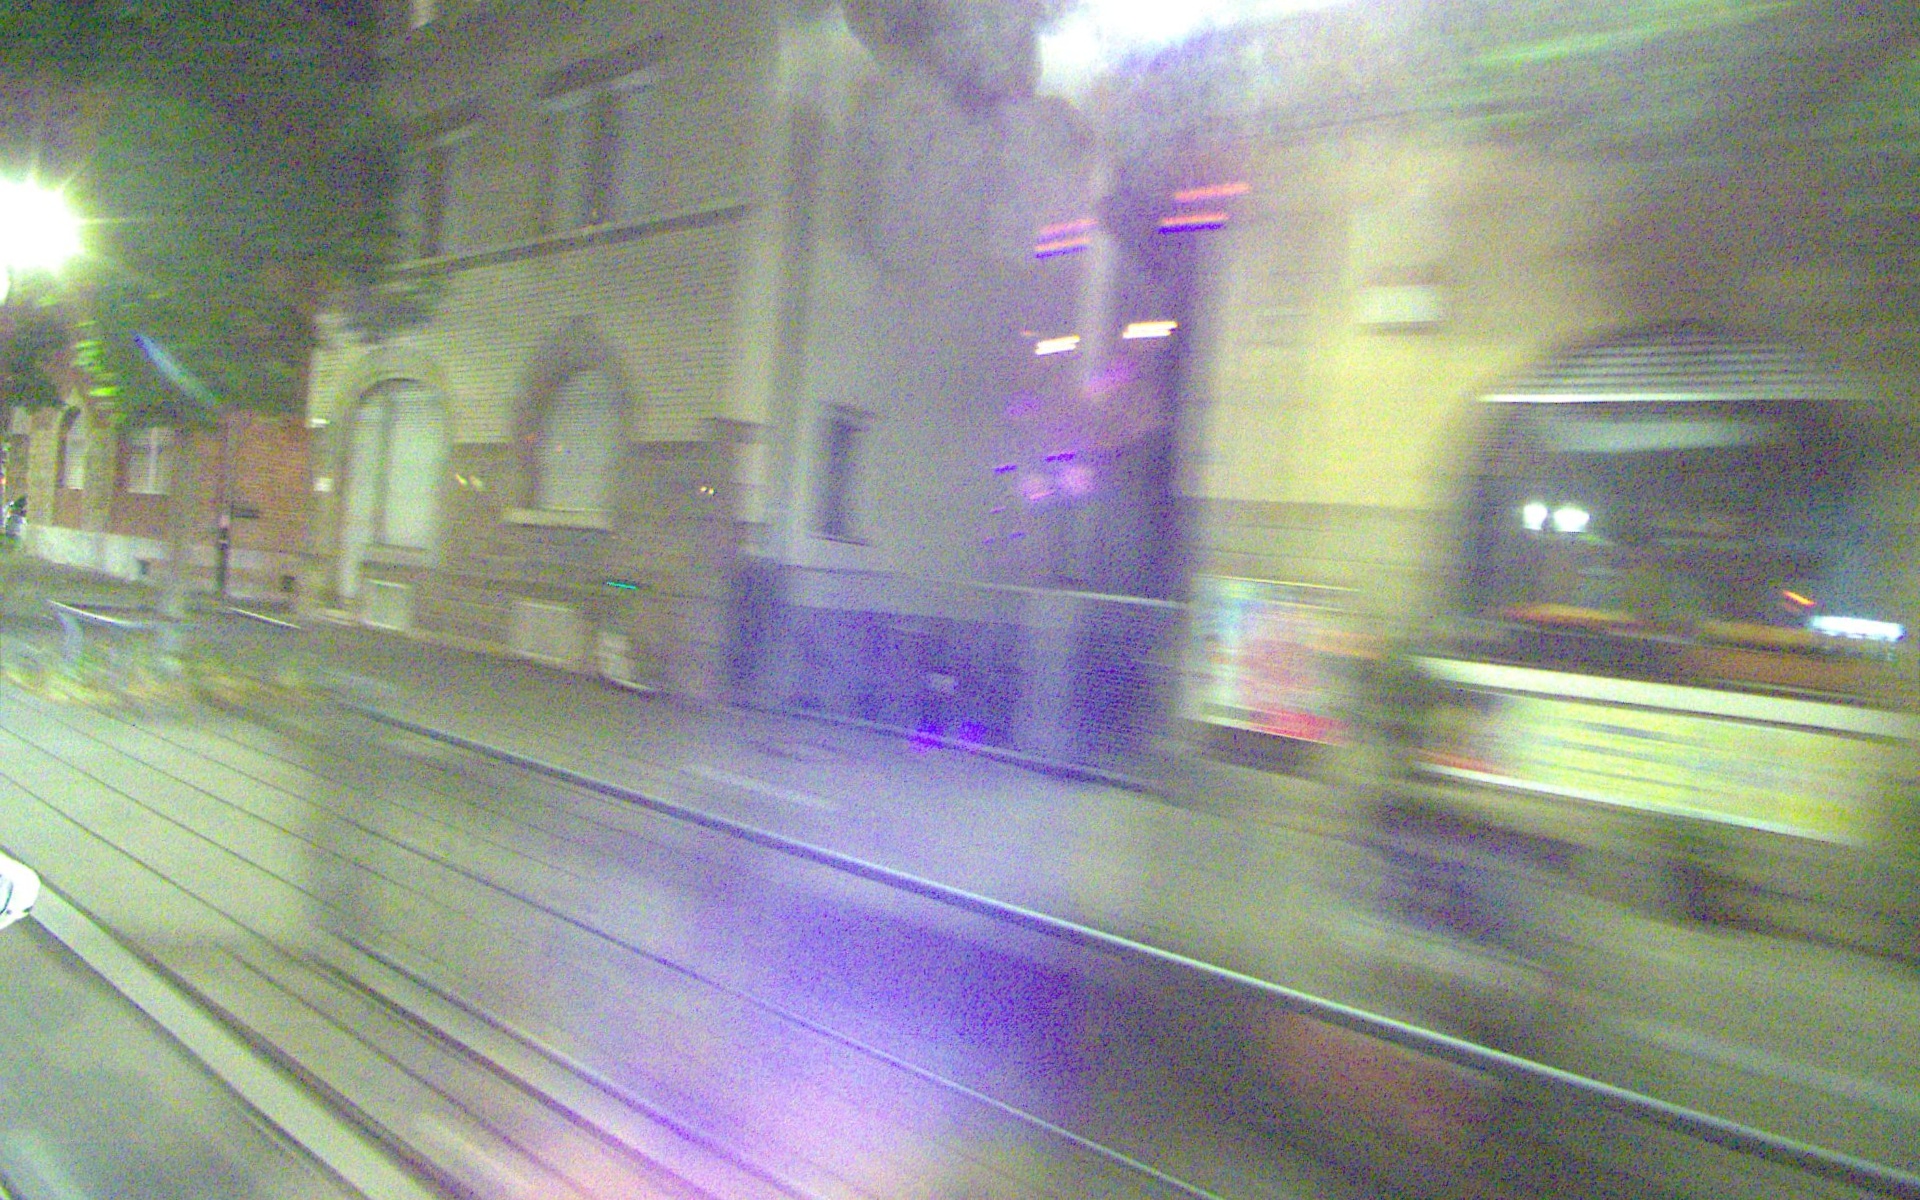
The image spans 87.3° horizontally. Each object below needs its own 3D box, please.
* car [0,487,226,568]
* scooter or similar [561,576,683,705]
[{"bbox_3d":[-21.686,-1.825,25.666,1.763,1.478,4.422,7,1,39],"label":"car"},{"bbox_3d":[-3.492,0.393,10.330,1.472,1.145,0.421,7,2,41],"label":"scooter or similar"}]
